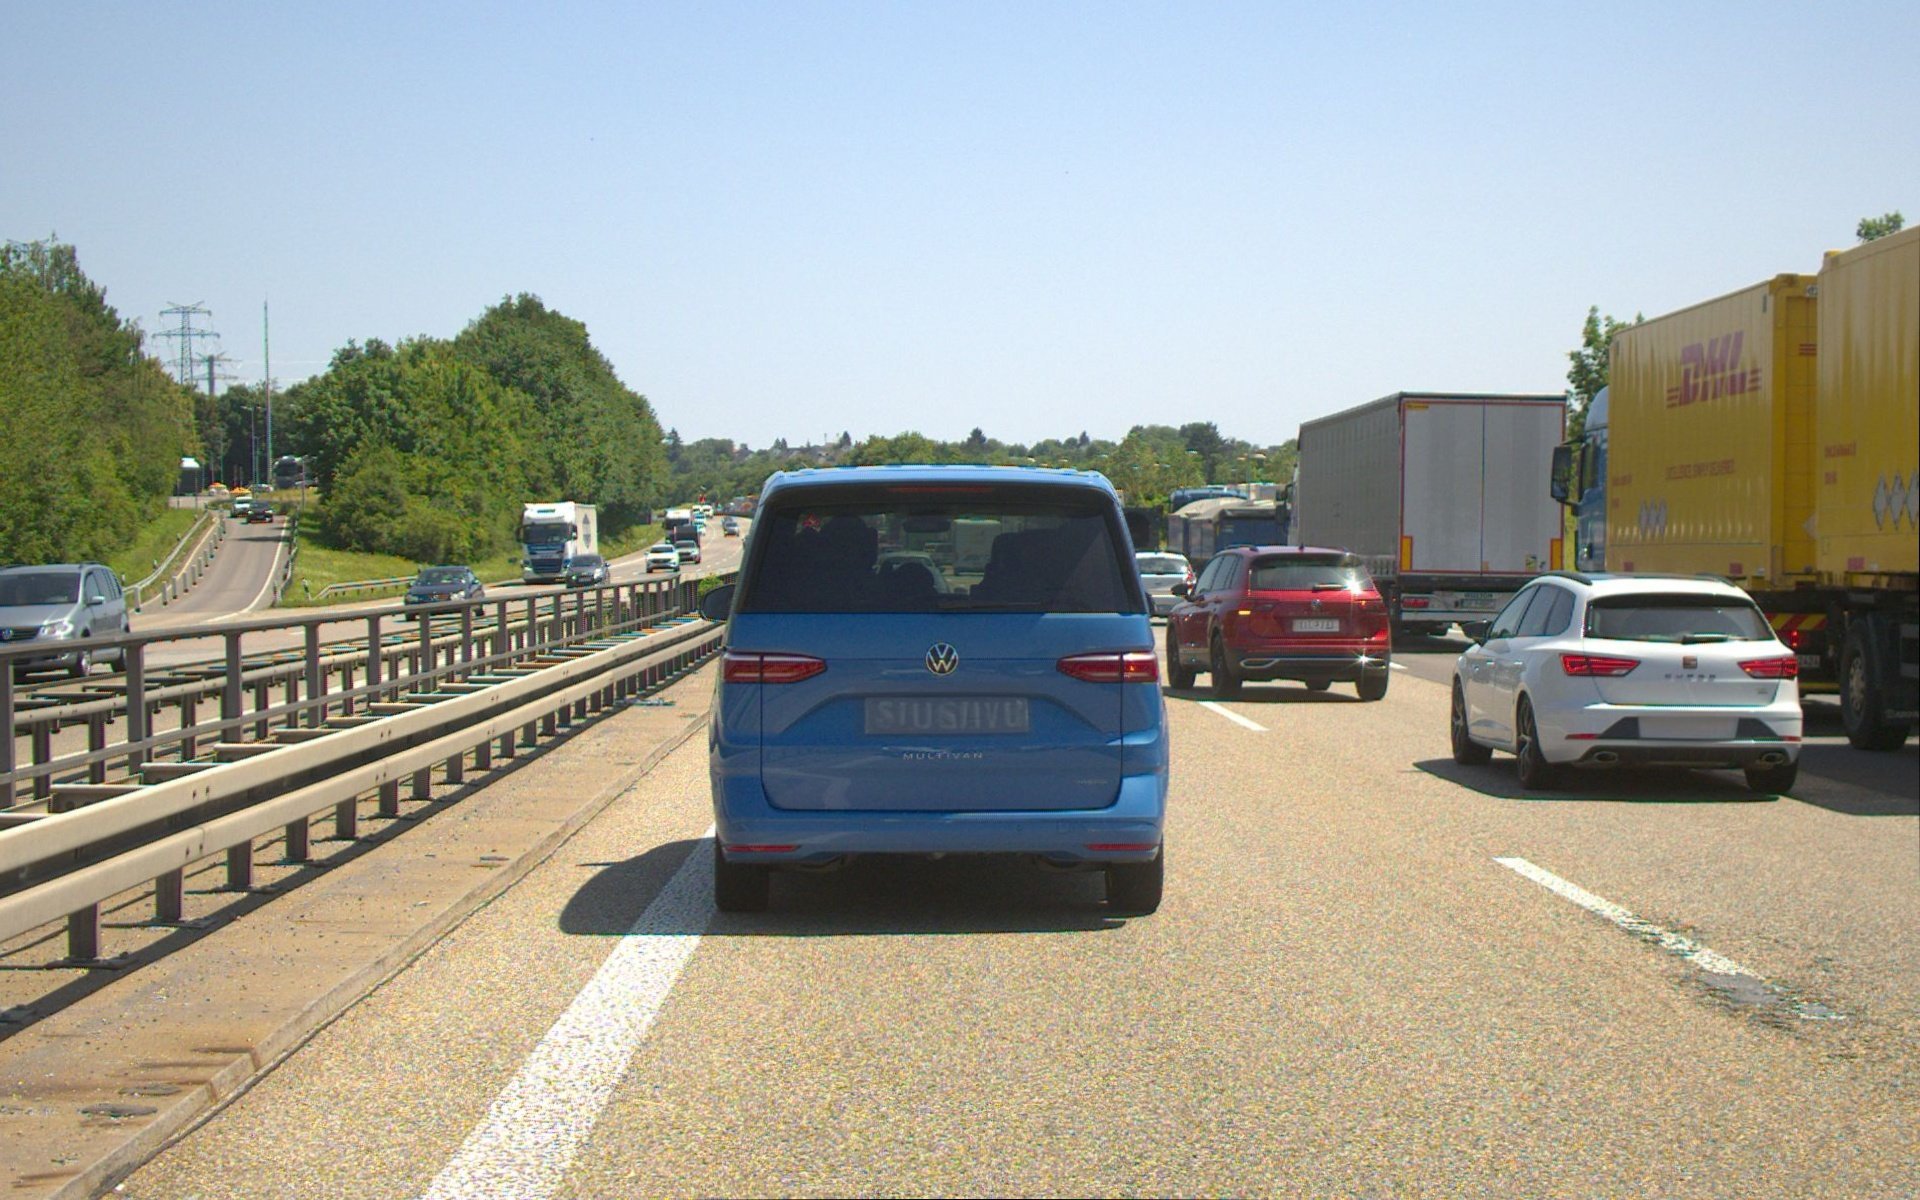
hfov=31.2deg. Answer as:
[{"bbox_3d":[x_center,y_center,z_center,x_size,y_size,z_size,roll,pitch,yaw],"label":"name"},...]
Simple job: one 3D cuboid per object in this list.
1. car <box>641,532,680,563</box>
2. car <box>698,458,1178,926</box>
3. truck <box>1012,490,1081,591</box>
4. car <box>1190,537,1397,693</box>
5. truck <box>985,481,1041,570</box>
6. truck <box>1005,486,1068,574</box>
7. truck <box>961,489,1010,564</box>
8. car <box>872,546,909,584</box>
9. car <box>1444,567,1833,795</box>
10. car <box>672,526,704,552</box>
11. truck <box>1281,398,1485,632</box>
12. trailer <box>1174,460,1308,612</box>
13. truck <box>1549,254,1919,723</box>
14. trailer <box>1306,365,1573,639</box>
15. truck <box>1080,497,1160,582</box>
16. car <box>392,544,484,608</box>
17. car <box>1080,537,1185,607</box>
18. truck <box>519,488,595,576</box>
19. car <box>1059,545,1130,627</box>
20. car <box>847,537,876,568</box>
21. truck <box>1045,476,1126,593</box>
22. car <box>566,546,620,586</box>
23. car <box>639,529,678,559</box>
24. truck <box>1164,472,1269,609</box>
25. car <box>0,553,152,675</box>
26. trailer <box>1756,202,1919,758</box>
[{"bbox_3d":[-17.577,-3.083,202.133,1.922,1.683,4.122,-3,1,-1],"label":"car"},{"bbox_3d":[-0.099,0.334,15.512,1.882,1.831,4.000,0,1,0],"label":"car"},{"bbox_3d":[4.436,-3.006,178.229,2.833,5.023,11.818,1,0,-2],"label":"truck"},{"bbox_3d":[3.575,0.128,37.510,1.851,1.603,4.000,0,1,0],"label":"car"},{"bbox_3d":[3.291,-4.605,216.544,2.833,5.354,12.556,1,0,-2],"label":"truck"},{"bbox_3d":[4.348,-3.959,198.328,2.833,4.869,13.221,1,0,-2],"label":"truck"},{"bbox_3d":[1.768,-5.088,242.357,2.833,5.023,12.914,1,0,-2],"label":"truck"},{"bbox_3d":[-3.798,-1.920,188.363,1.993,2.007,4.000,1,0,-1],"label":"car"},{"bbox_3d":[4.491,0.478,23.352,1.781,1.382,4.188,0,1,0],"label":"car"},{"bbox_3d":[-19.032,-4.282,240.883,1.922,1.683,4.122,-3,1,-1],"label":"car"},{"bbox_3d":[7.789,-1.529,64.141,2.768,4.081,6.984,1,0,-1],"label":"truck"},{"bbox_3d":[7.299,-1.615,90.643,2.379,3.731,11.189,1,0,-1],"label":"trailer"},{"bbox_3d":[8.272,-0.985,34.954,2.722,4.041,10.336,1,0,0],"label":"truck"},{"bbox_3d":[7.873,-1.523,58.018,2.755,4.132,11.312,1,0,-1],"label":"trailer"},{"bbox_3d":[6.266,-2.325,135.595,2.355,3.207,9.741,1,0,-2],"label":"truck"},{"bbox_3d":[-13.933,-0.660,91.977,1.829,1.604,4.169,-3,1,-1],"label":"car"},{"bbox_3d":[3.535,-0.589,70.961,1.838,1.409,4.000,0,1,-2],"label":"car"},{"bbox_3d":[-20.208,-3.405,172.678,2.989,4.264,7.189,-1,1,-1],"label":"truck"},{"bbox_3d":[3.355,-0.357,86.271,1.583,2.007,3.493,1,0,-1],"label":"car"},{"bbox_3d":[-6.216,-2.988,217.006,1.739,1.904,3.681,1,0,-1],"label":"car"},{"bbox_3d":[5.604,-2.873,155.069,2.833,5.023,11.147,1,0,-2],"label":"truck"},{"bbox_3d":[-15.426,-1.451,144.659,1.829,1.604,4.169,-1,1,-1],"label":"car"},{"bbox_3d":[-17.784,-3.321,202.755,1.922,1.683,4.122,-3,1,-1],"label":"car"},{"bbox_3d":[7.162,-1.636,96.639,2.367,3.709,6.033,1,0,-1],"label":"truck"},{"bbox_3d":[-12.940,0.184,49.024,1.829,1.604,4.169,-3,1,-1],"label":"car"},{"bbox_3d":[8.258,-0.854,25.305,2.701,4.010,8.930,1,0,0],"label":"trailer"}]
